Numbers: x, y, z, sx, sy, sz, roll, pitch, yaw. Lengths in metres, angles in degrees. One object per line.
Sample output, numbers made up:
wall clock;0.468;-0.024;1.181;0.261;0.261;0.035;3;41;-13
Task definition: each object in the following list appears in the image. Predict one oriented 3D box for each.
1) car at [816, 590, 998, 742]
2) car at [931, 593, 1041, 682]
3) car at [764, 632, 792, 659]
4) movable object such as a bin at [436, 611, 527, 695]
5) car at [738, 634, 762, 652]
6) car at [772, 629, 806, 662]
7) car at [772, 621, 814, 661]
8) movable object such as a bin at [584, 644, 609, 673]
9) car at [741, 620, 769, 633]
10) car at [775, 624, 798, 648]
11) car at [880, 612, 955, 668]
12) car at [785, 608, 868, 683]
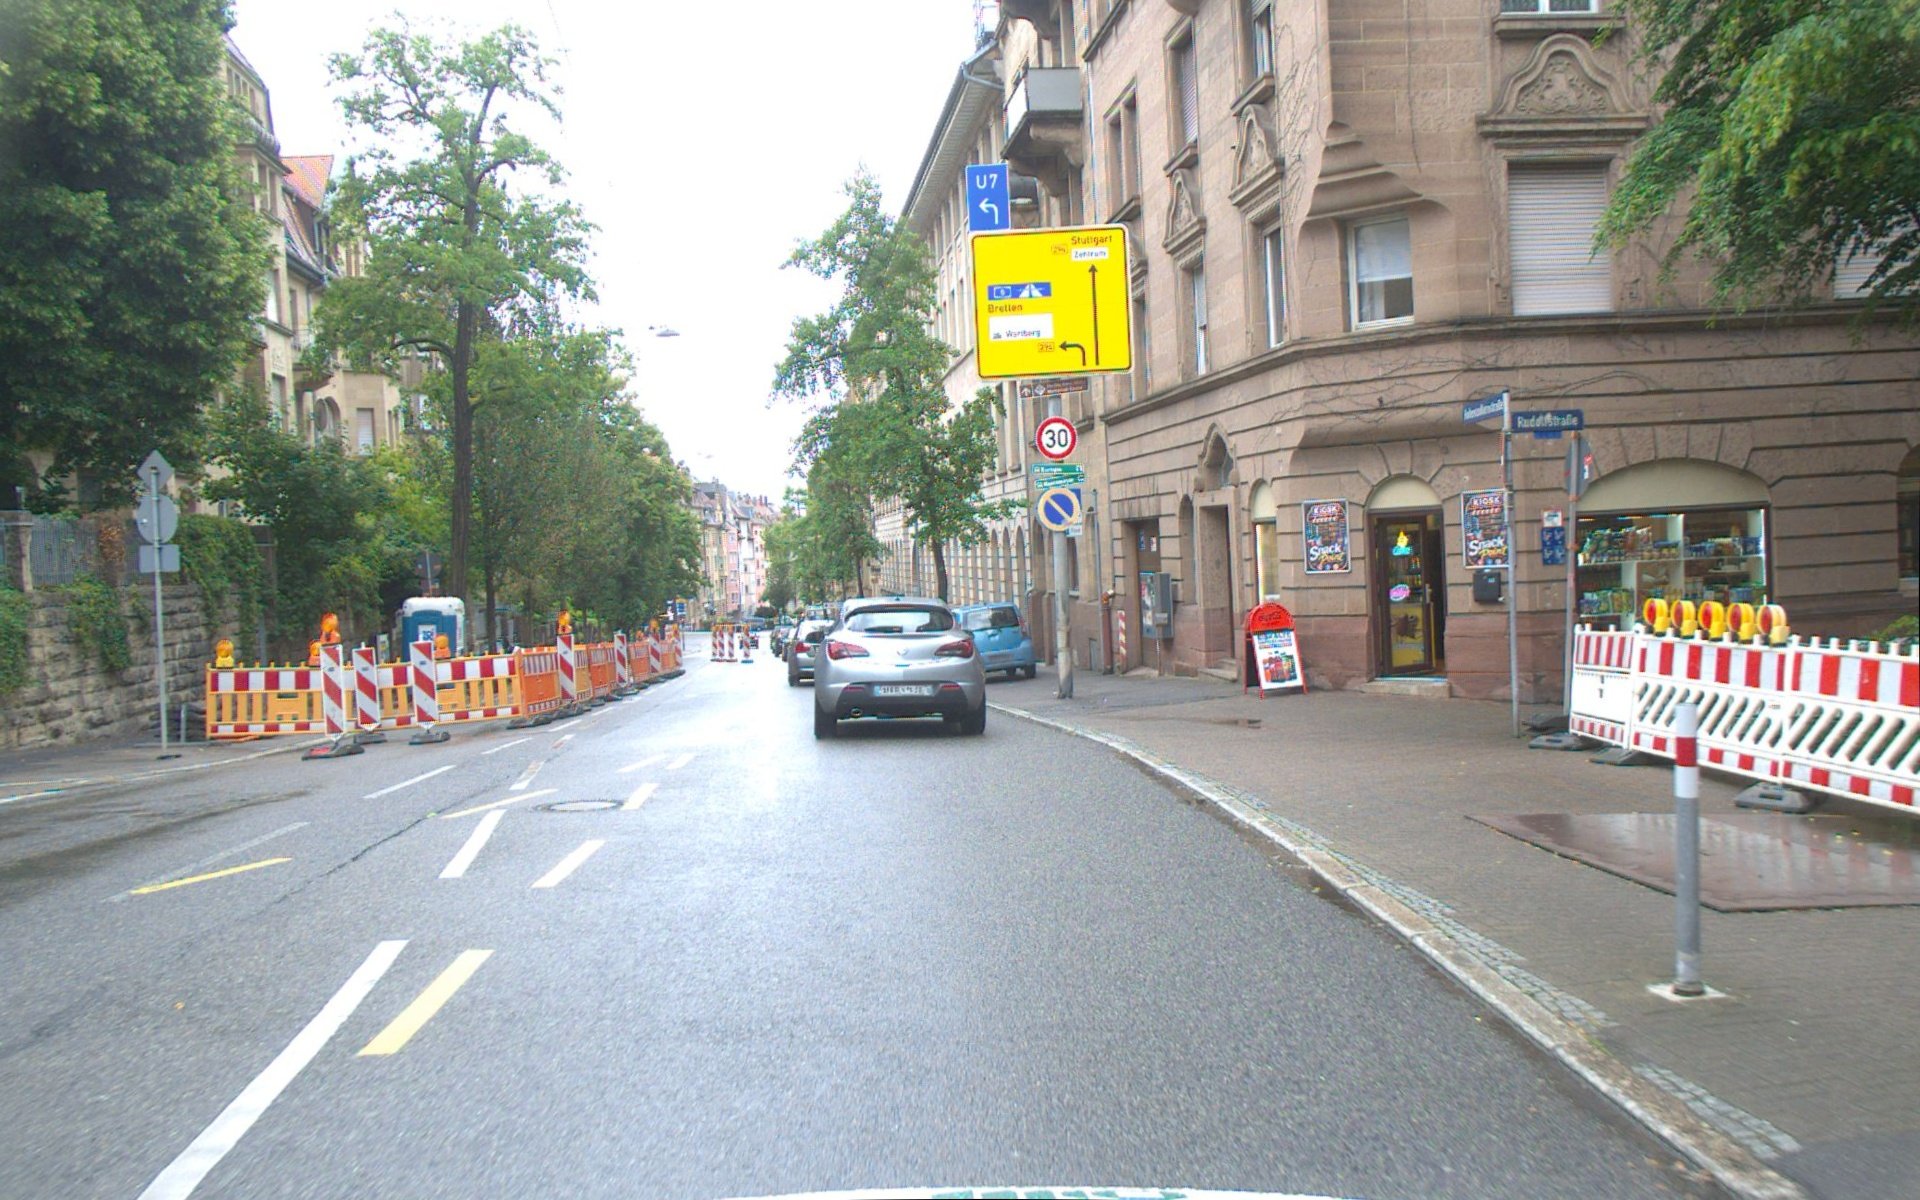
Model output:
car;-0.694;0.681;18.443;1.776;1.475;3.864;-1;-1;-5
car;0.473;0.762;33.678;1.626;1.569;3.659;-5;-1;-7
car;-11.672;2.884;106.046;1.626;1.569;3.659;-5;-1;-7
movable object such as a bin;-14.377;1.562;49.848;1.954;2.339;2.813;-3;-1;-3
car;-19.414;3.992;152.881;1.957;1.527;3.991;-2;-1;-9
car;-9.012;2.404;87.020;1.626;1.569;3.659;-5;-1;-7
car;-7.341;1.787;72.502;1.625;1.569;3.659;-5;-1;-7
movable object such as a bin;-15.759;2.517;71.713;0.926;1.235;0.855;-1;-1;-6
car;-28.975;3.730;234.287;3.911;1.781;1.997;0;-2;-7
car;-14.504;3.018;137.883;1.683;1.812;3.659;-6;-1;-8
car;-1.331;1.189;49.876;1.664;1.456;4.414;-5;0;-8
car;-2.993;0.990;36.960;1.737;1.531;3.864;-1;-1;-5
